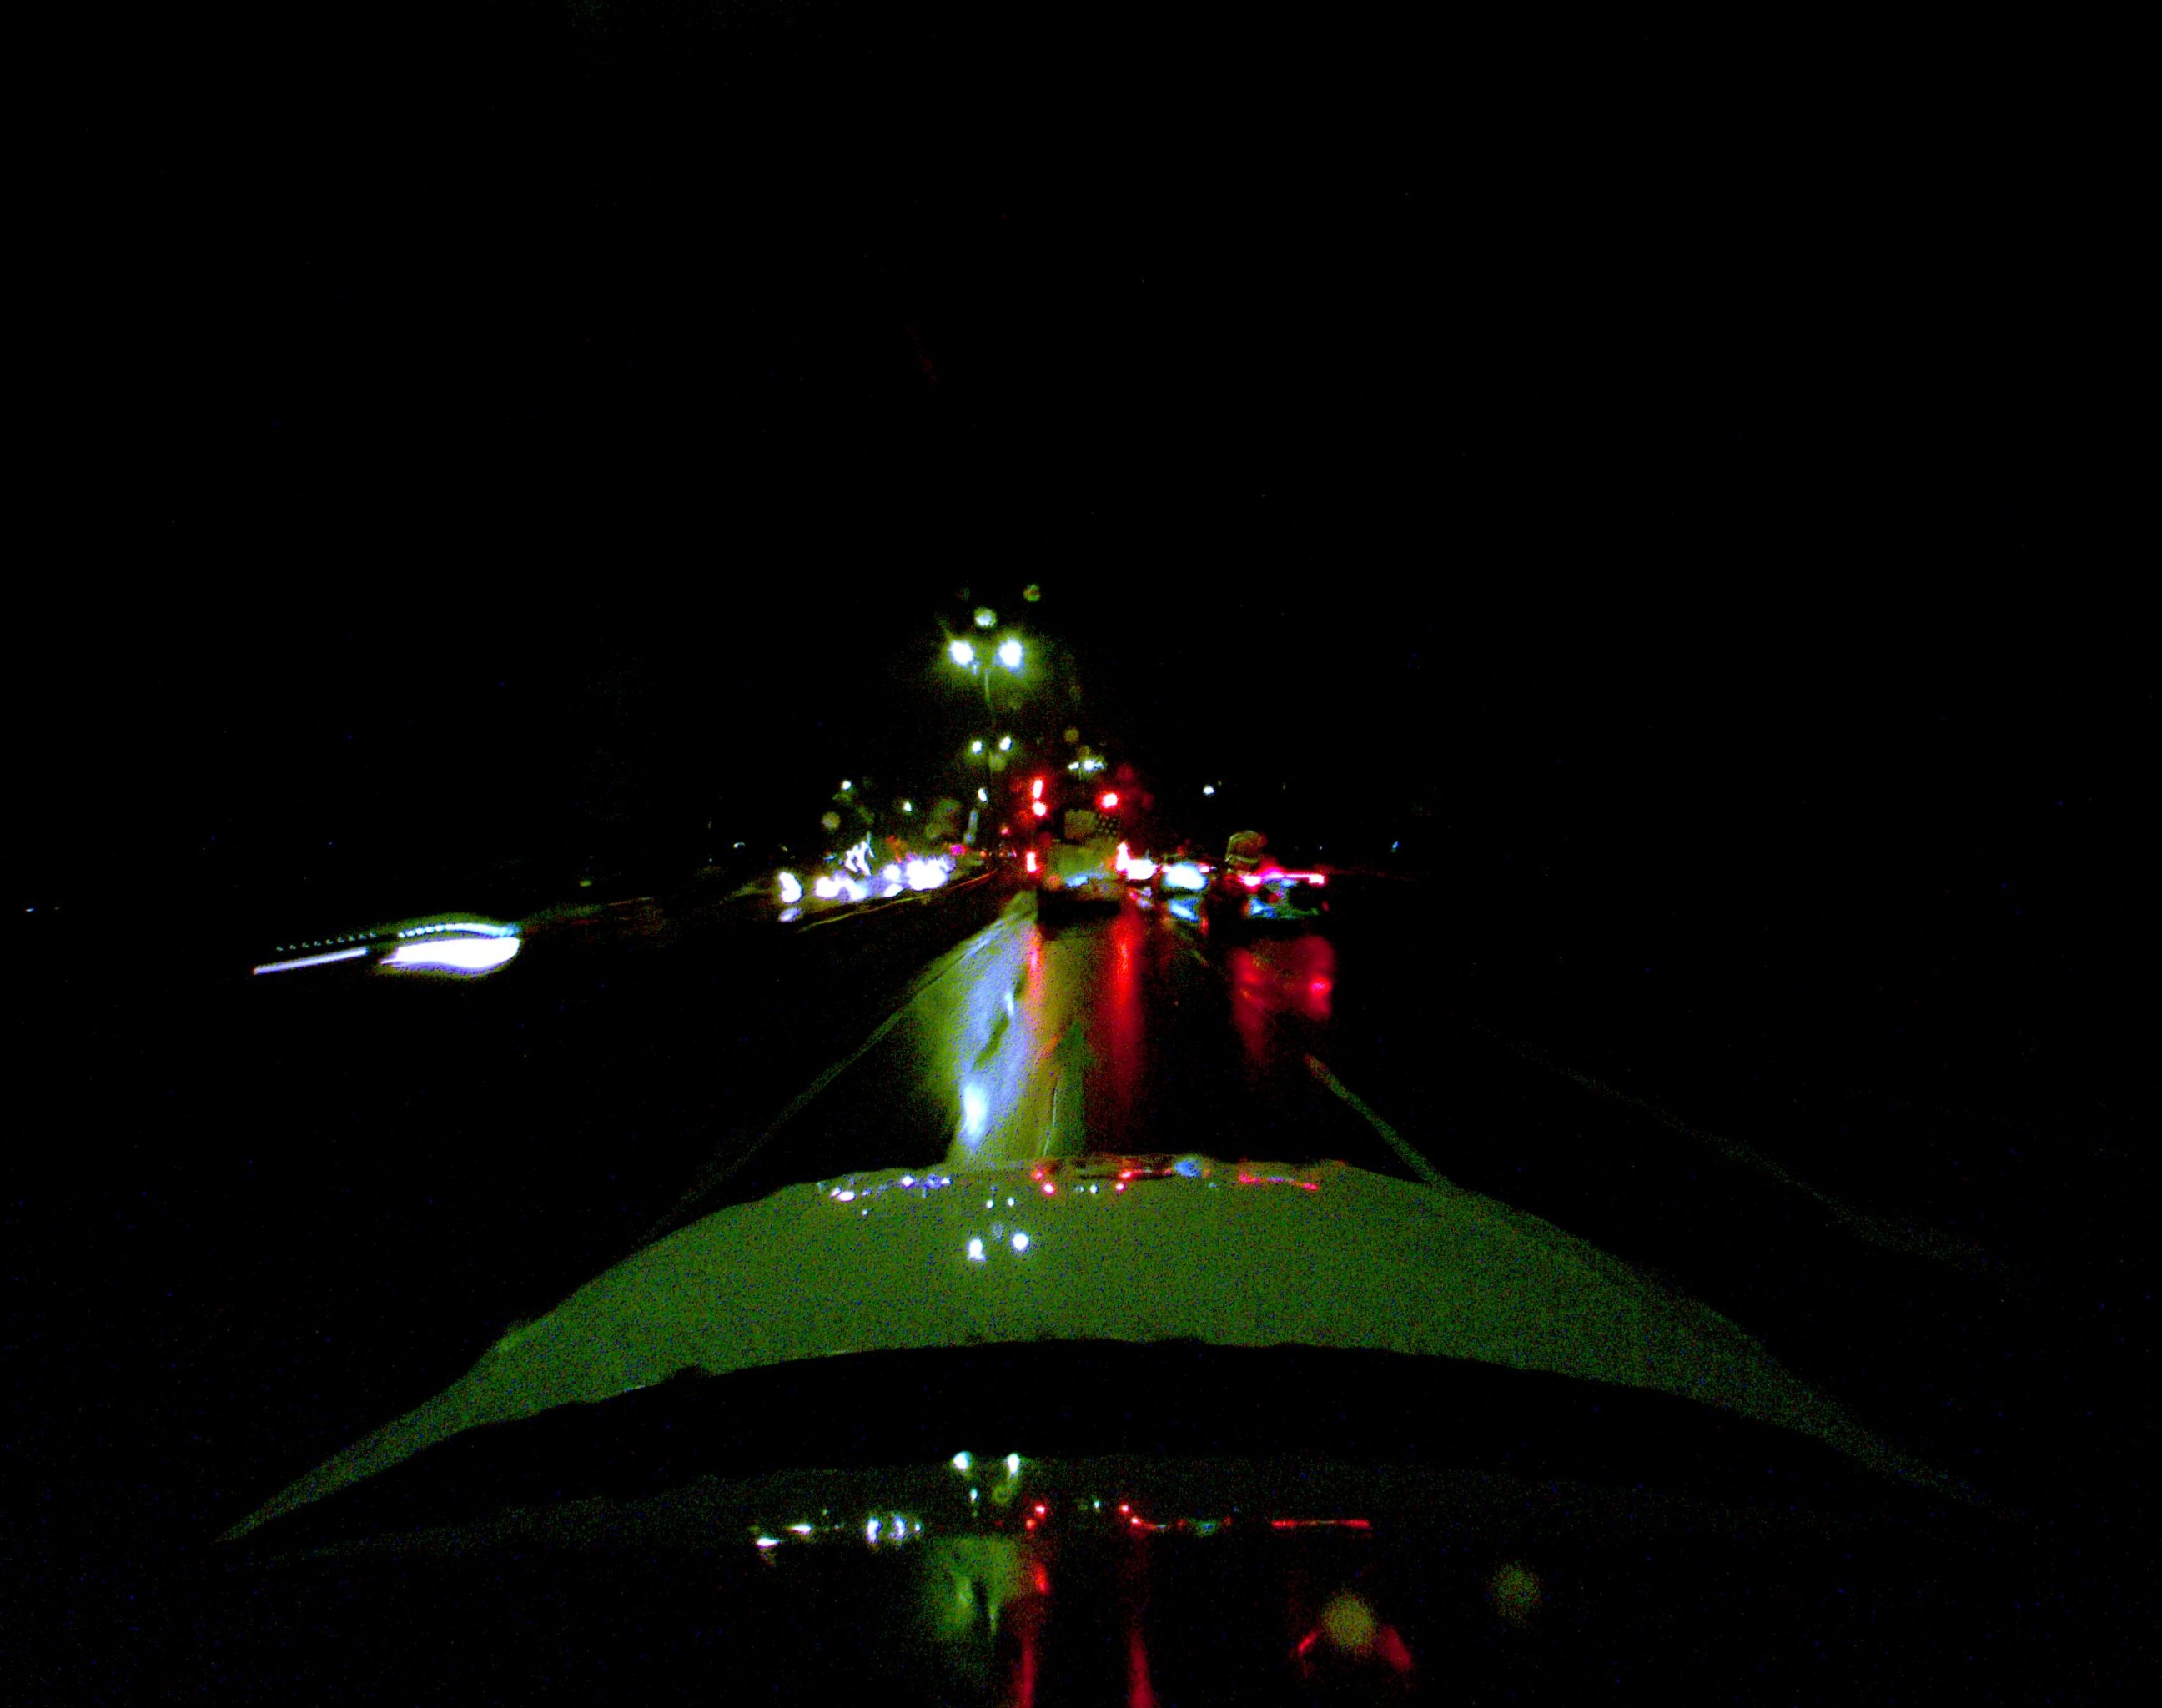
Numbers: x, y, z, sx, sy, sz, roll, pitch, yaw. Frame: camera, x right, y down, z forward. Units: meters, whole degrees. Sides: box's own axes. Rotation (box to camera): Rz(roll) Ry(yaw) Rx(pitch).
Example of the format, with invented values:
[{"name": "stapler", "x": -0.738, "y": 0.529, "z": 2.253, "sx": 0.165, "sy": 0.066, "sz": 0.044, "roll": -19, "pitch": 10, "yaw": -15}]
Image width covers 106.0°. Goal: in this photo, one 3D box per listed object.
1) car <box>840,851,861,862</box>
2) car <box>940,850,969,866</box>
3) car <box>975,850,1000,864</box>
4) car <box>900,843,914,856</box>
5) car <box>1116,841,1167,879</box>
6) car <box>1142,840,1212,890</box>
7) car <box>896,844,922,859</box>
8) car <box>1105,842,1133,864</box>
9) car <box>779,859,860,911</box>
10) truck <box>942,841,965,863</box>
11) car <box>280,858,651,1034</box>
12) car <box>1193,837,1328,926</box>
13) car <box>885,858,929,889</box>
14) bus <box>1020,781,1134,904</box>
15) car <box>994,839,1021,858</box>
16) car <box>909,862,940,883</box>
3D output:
[{"name": "car", "x": -37.826, "y": 0.402, "z": 133.586, "sx": 2.009, "sy": 1.686, "sz": 3.955, "roll": 1, "pitch": 1, "yaw": -38}, {"name": "car", "x": -16.517, "y": 0.547, "z": 105.943, "sx": 2.227, "sy": 2.013, "sz": 3.958, "roll": -2, "pitch": 0, "yaw": -34}, {"name": "car", "x": -11.091, "y": 0.355, "z": 96.650, "sx": 1.761, "sy": 1.631, "sz": 3.590, "roll": 0, "pitch": 0, "yaw": -28}, {"name": "car", "x": -27.891, "y": -0.752, "z": 130.442, "sx": 2.123, "sy": 2.014, "sz": 3.983, "roll": 0, "pitch": 0, "yaw": -12}, {"name": "car", "x": 2.658, "y": 0.248, "z": 36.823, "sx": 1.815, "sy": 1.590, "sz": 3.773, "roll": -2, "pitch": 0, "yaw": -3}, {"name": "car", "x": 3.313, "y": 0.358, "z": 28.653, "sx": 1.815, "sy": 1.590, "sz": 3.773, "roll": -2, "pitch": 0, "yaw": -3}, {"name": "car", "x": -25.196, "y": -0.364, "z": 119.473, "sx": 2.011, "sy": 2.014, "sz": 3.952, "roll": 0, "pitch": -1, "yaw": -42}, {"name": "car", "x": 2.717, "y": -0.089, "z": 59.398, "sx": 1.774, "sy": 1.543, "sz": 3.873, "roll": -1, "pitch": 0, "yaw": -1}, {"name": "car", "x": -9.009, "y": 1.002, "z": 28.337, "sx": 1.564, "sy": 1.542, "sz": 4.156, "roll": -5, "pitch": 0, "yaw": -3}, {"name": "truck", "x": -15.416, "y": -0.288, "z": 98.371, "sx": 1.862, "sy": 2.392, "sz": 4.749, "roll": -3, "pitch": 3, "yaw": -19}, {"name": "car", "x": -7.199, "y": 0.921, "z": 10.145, "sx": 1.616, "sy": 1.651, "sz": 3.996, "roll": -3, "pitch": 0, "yaw": -2}, {"name": "car", "x": 3.475, "y": 0.485, "z": 16.422, "sx": 1.735, "sy": 1.564, "sz": 3.773, "roll": -1, "pitch": 0, "yaw": -3}, {"name": "car", "x": -10.444, "y": 1.122, "z": 49.196, "sx": 1.805, "sy": 1.568, "sz": 3.996, "roll": -6, "pitch": 1, "yaw": -3}, {"name": "bus", "x": -0.169, "y": -0.299, "z": 24.709, "sx": 2.807, "sy": 3.024, "sz": 8.683, "roll": -1, "pitch": 0, "yaw": -1}, {"name": "car", "x": -8.055, "y": -0.550, "z": 88.881, "sx": 2.000, "sy": 2.014, "sz": 3.973, "roll": 0, "pitch": 0, "yaw": -20}, {"name": "car", "x": -12.459, "y": 1.445, "z": 65.116, "sx": 1.813, "sy": 1.394, "sz": 4.455, "roll": -6, "pitch": 1, "yaw": -4}]
